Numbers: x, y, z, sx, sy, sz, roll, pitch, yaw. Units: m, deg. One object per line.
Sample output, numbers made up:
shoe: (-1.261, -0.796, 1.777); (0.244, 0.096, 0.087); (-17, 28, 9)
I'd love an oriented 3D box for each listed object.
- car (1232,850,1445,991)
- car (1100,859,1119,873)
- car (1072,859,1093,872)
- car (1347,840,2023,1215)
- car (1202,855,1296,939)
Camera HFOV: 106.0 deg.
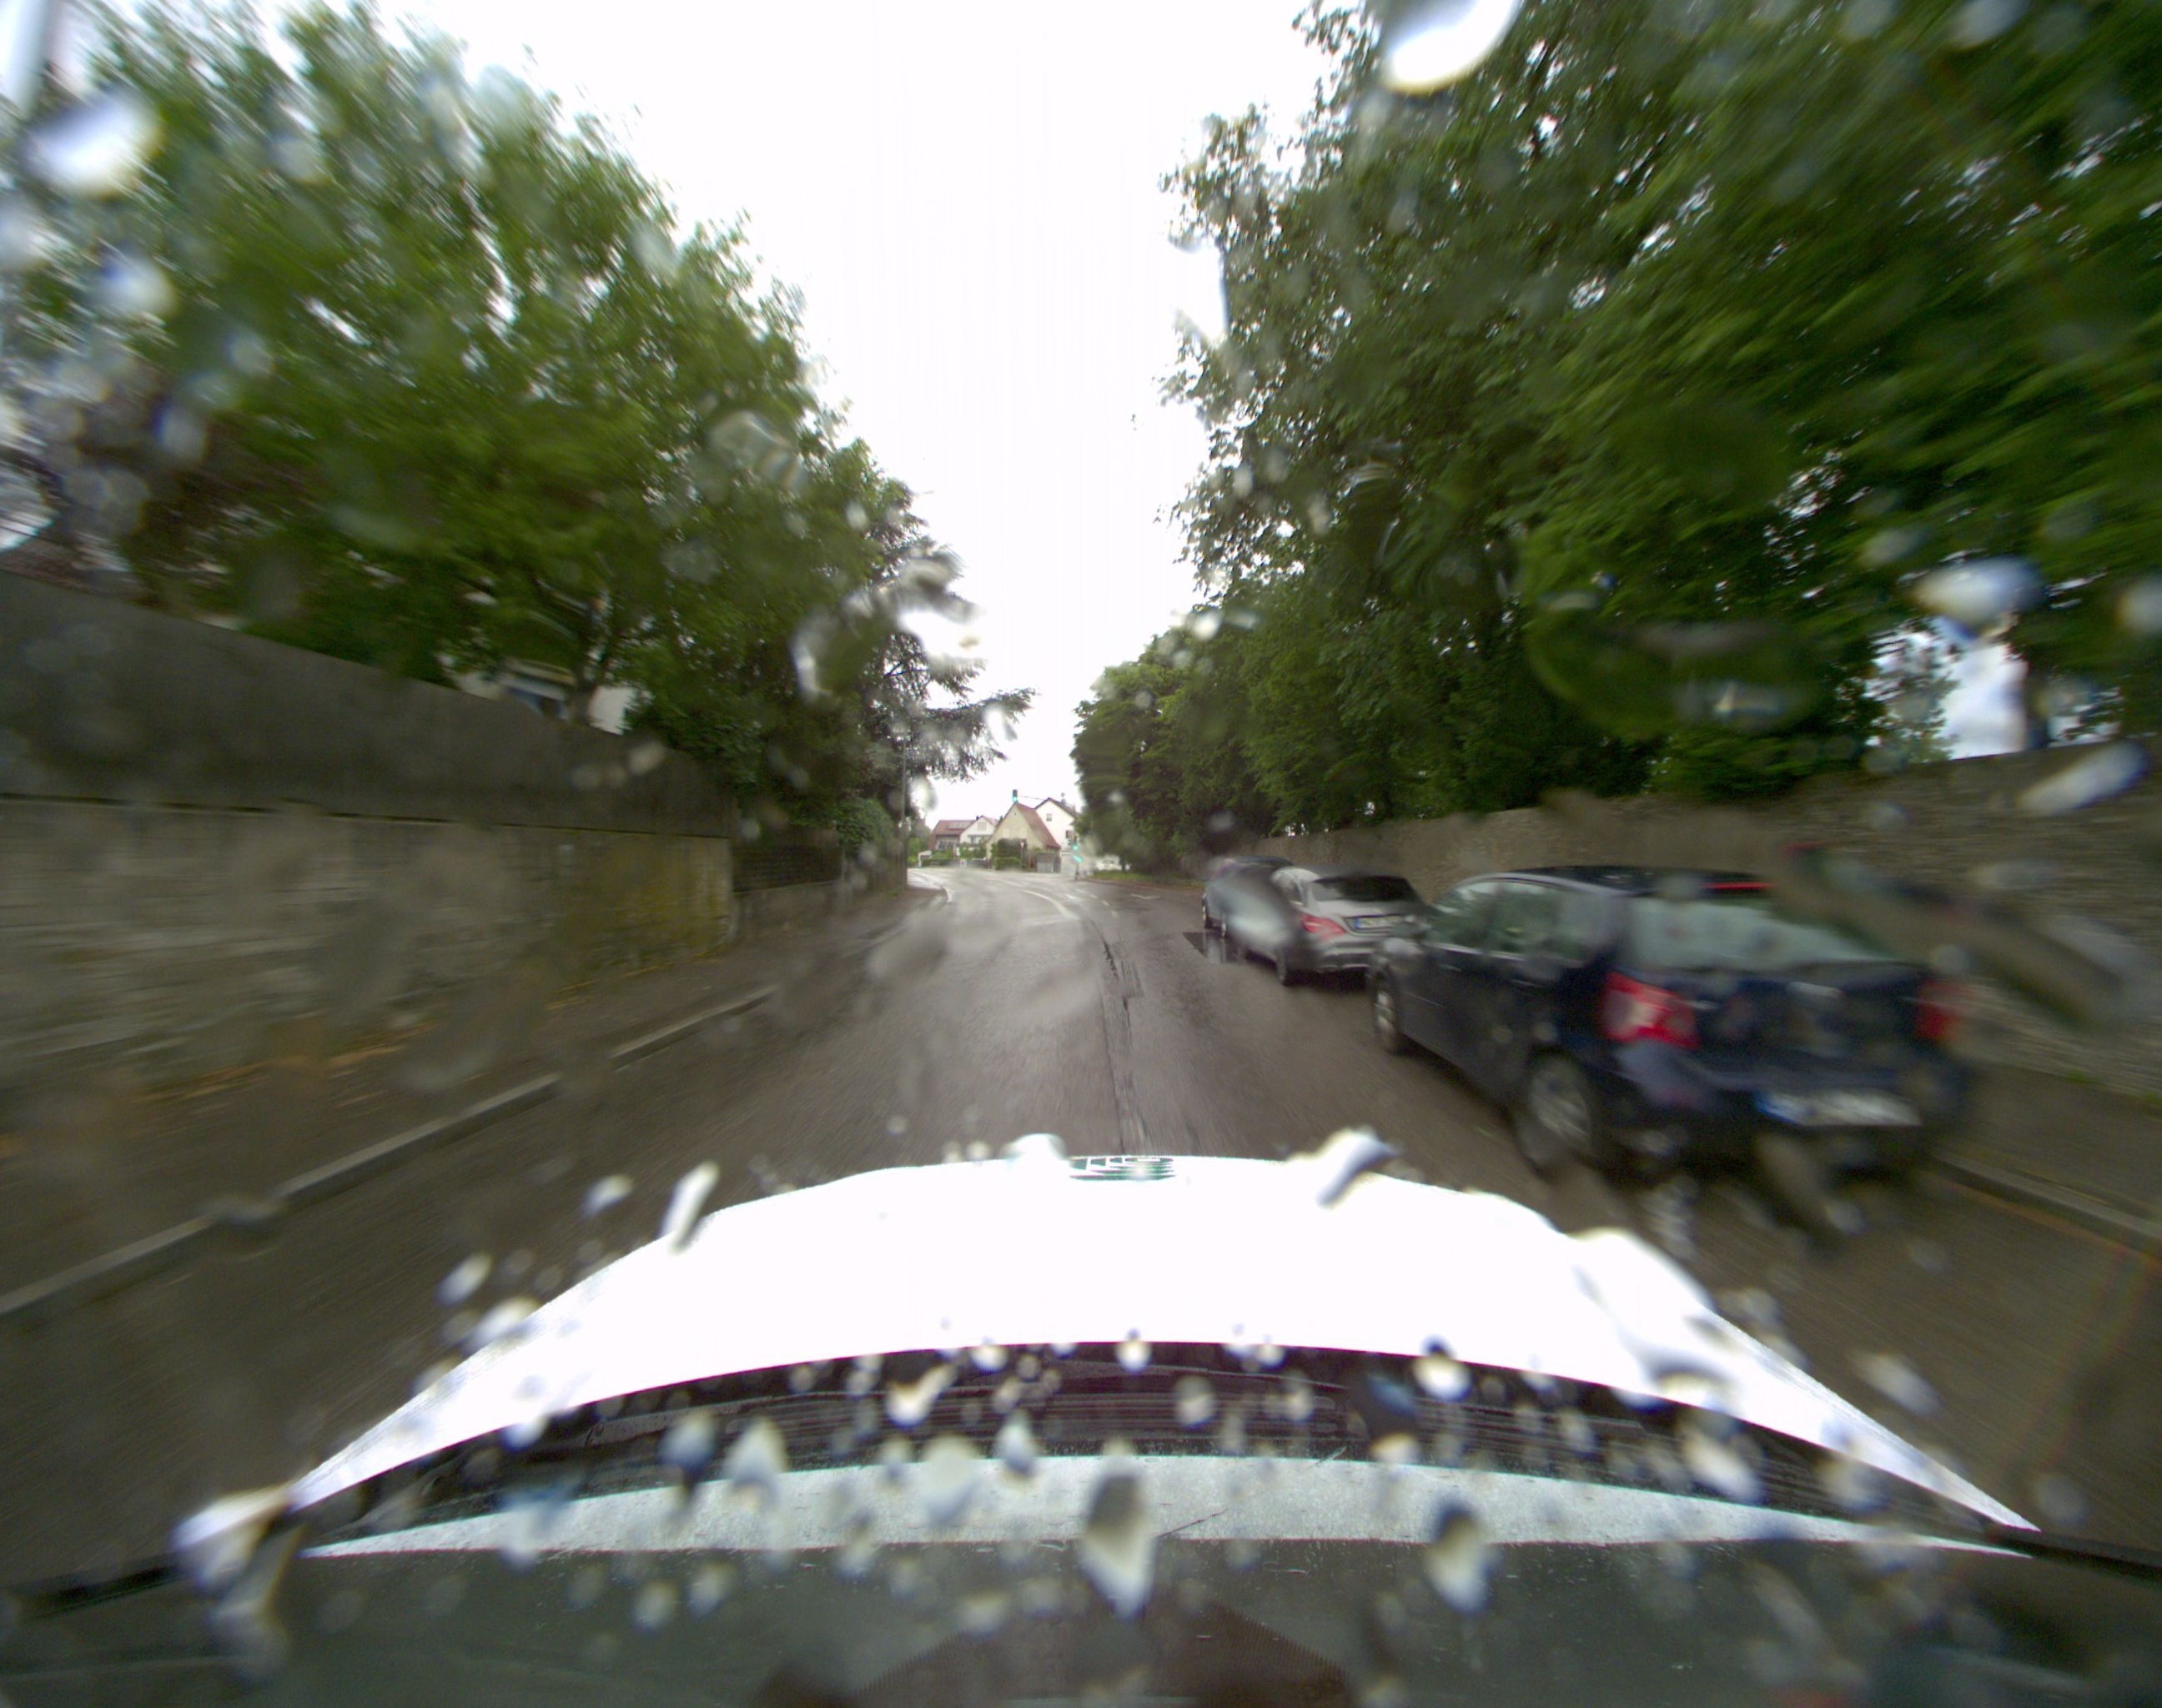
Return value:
car: (3.183, 0.759, 10.939); (1.641, 1.497, 4.247); (1, -1, 2)
car: (3.132, 1.285, 89.779); (1.898, 1.442, 4.006); (0, 0, 5)
car: (0.184, 1.271, 90.280); (1.898, 1.442, 4.006); (0, 0, 5)
car: (3.071, 0.741, 5.189); (1.641, 1.497, 3.710); (1, -1, 2)
car: (3.298, 0.812, 16.426); (1.297, 1.497, 3.365); (1, -1, 2)
